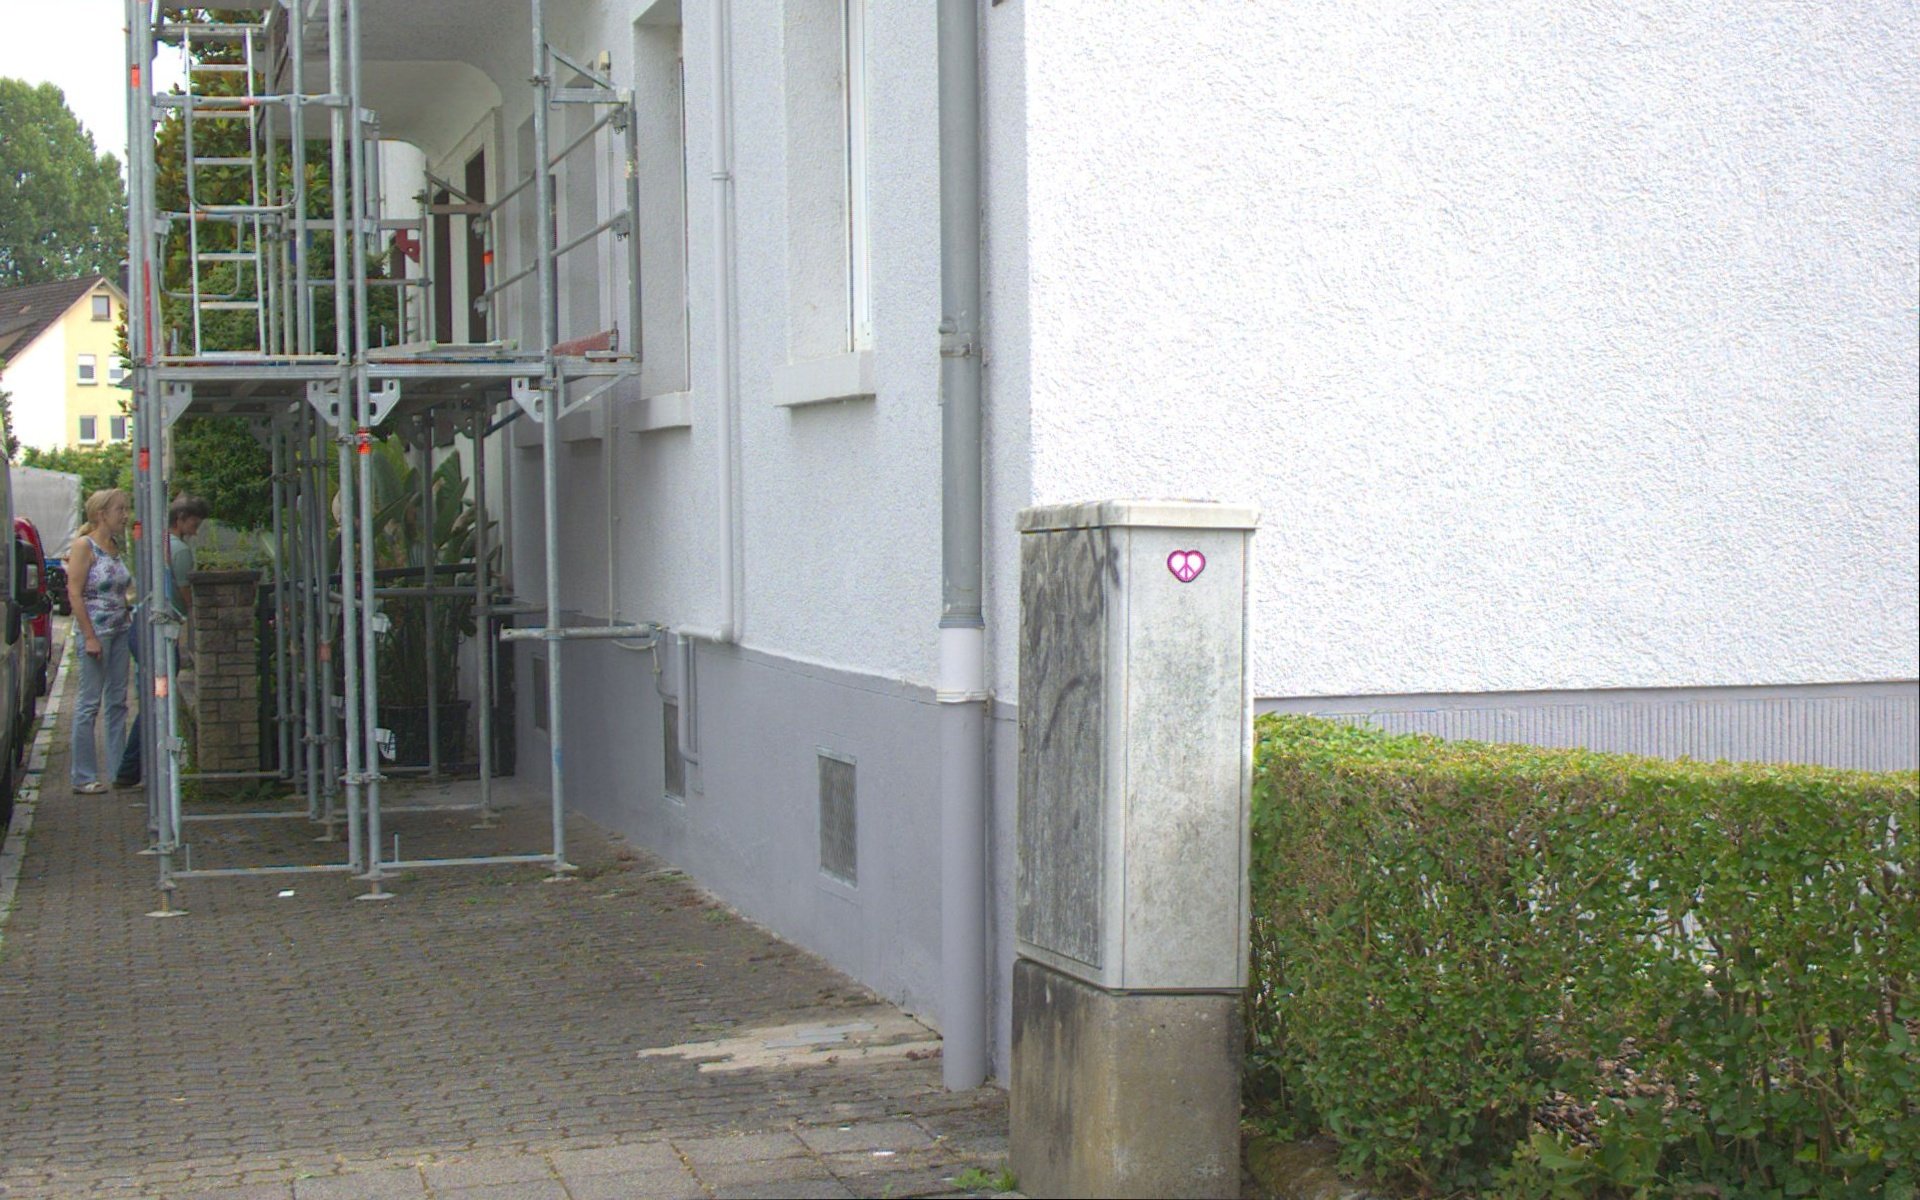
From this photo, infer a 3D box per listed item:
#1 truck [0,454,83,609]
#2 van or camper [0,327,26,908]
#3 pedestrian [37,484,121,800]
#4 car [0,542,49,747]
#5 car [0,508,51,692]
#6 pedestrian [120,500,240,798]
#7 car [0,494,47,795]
[{"bbox_3d":[-16.853,-1.231,61.388,2.129,2.648,4.586,-2,2,-16],"label":"truck"},{"bbox_3d":[-5.631,0.004,16.308,2.191,2.450,5.056,-1,2,-14],"label":"van or camper"},{"bbox_3d":[-4.994,0.233,19.502,0.407,1.756,0.513,-2,0,-13],"label":"pedestrian"},{"bbox_3d":[-8.254,0.312,26.970,1.993,1.450,4.343,-2,2,-16],"label":"car"},{"bbox_3d":[-10.291,-0.036,34.705,1.993,1.743,4.343,-2,2,-16],"label":"car"},{"bbox_3d":[-4.365,0.265,19.236,0.601,1.623,0.625,-2,0,-13],"label":"pedestrian"},{"bbox_3d":[-6.974,0.227,22.069,1.993,1.766,4.343,-2,2,-16],"label":"car"}]
